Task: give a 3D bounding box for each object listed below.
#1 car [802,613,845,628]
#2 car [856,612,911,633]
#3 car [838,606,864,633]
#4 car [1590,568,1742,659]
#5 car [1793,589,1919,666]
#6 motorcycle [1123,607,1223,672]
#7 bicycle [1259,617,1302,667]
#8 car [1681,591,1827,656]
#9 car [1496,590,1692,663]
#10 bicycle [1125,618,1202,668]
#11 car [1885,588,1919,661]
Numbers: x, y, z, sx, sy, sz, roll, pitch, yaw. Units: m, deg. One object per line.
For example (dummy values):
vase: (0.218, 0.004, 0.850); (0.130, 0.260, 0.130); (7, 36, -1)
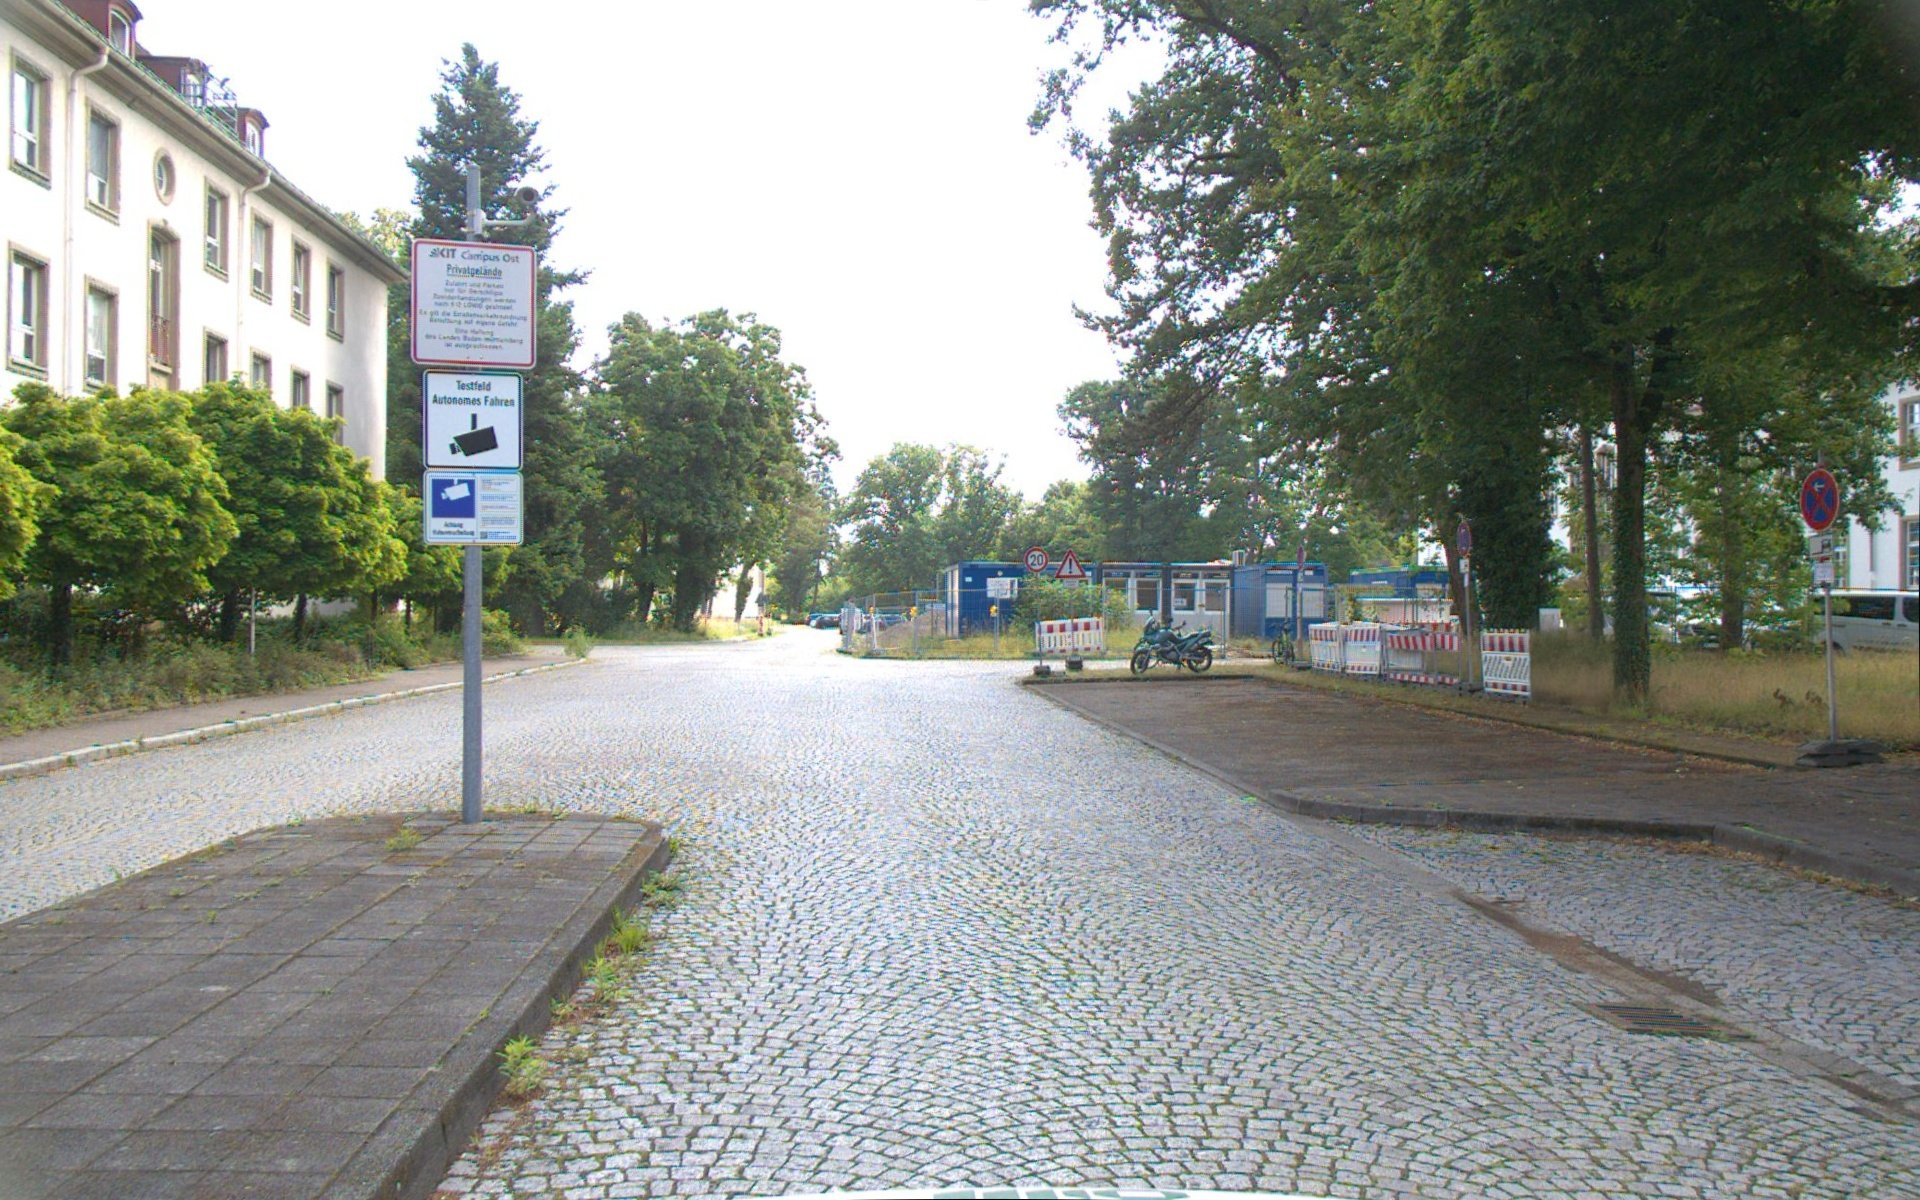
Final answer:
car: (-15.399, 2.314, 186.066); (4.692, 1.669, 1.995); (1, -1, -10)
car: (-6.250, 1.829, 135.378); (4.310, 1.537, 2.001); (2, -1, 3)
car: (-8.548, 1.509, 129.483); (1.955, 2.049, 4.086); (1, -1, -6)
car: (21.567, 0.430, 50.842); (1.953, 2.601, 5.907); (2, -1, -2)
car: (23.552, 0.701, 41.062); (1.973, 1.857, 4.823); (2, -1, -31)
motorcycle: (5.041, 0.925, 39.227); (2.234, 1.511, 0.755); (0, -1, -10)
bicycle: (7.932, 1.032, 41.010); (0.629, 1.190, 1.904); (0, 0, -2)
car: (24.264, 0.720, 50.742); (1.953, 1.857, 4.872); (2, -1, -2)
car: (17.720, 0.727, 46.327); (4.762, 1.954, 1.905); (0, 1, -4)
bicycle: (5.132, 1.076, 41.714); (1.858, 1.218, 0.656); (0, -1, 15)
car: (26.178, 0.669, 41.522); (1.973, 1.857, 4.823); (2, -1, -31)
